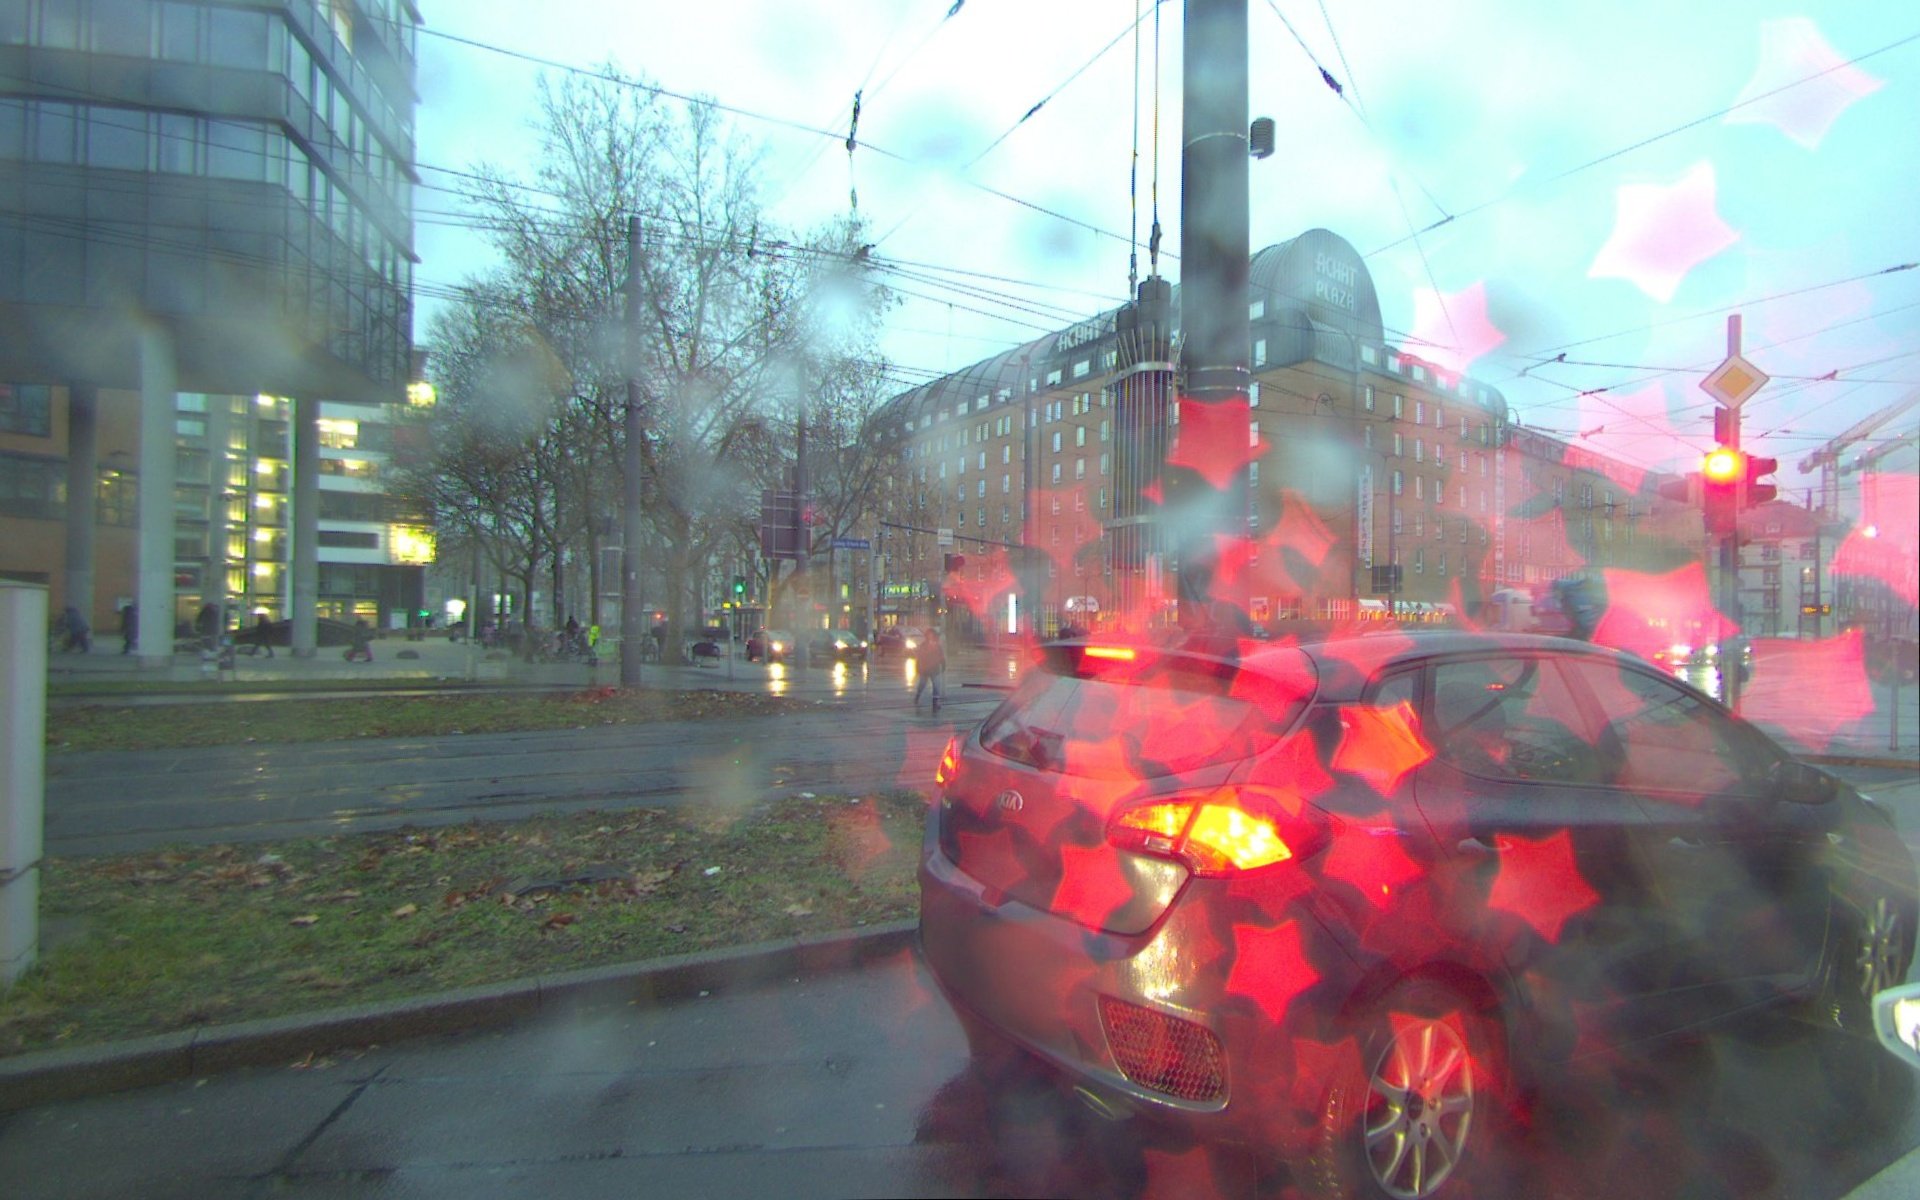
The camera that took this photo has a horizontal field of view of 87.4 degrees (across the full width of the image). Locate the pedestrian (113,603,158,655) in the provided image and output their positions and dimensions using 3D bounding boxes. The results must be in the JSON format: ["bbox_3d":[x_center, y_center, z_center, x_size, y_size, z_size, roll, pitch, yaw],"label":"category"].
[{"bbox_3d":[-27.875,0.994,33.971,0.772,1.734,1.008,1,-2,-15],"label":"pedestrian"}]

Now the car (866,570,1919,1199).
[{"bbox_3d":[1.782,0.754,3.642,3.894,1.544,1.622,2,0,-29],"label":"car"}]

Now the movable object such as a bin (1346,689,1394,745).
[{"bbox_3d":[5.430,1.546,13.320,0.527,0.708,0.413,0,-3,15],"label":"movable object such as a bin"}]

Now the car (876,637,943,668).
[{"bbox_3d":[-2.699,2.712,52.578,1.975,1.483,3.970,1,-2,-28],"label":"car"}]

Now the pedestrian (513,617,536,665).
[{"bbox_3d":[-16.806,1.571,38.769,0.778,1.828,0.868,1,-1,-22],"label":"pedestrian"}]

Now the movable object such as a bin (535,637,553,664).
[{"bbox_3d":[-16.124,1.959,38.967,0.637,1.048,0.572,1,-1,-23],"label":"movable object such as a bin"}]

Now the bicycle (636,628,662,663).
[{"bbox_3d":[-12.255,1.788,39.542,0.624,1.336,2.296,1,-2,-25],"label":"bicycle"}]

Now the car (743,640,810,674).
[{"bbox_3d":[-8.740,2.659,47.549,1.975,1.483,3.970,1,-2,-28],"label":"car"}]

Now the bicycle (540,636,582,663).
[{"bbox_3d":[-16.351,2.026,41.171,1.564,1.088,0.451,1,-2,-20],"label":"bicycle"}]

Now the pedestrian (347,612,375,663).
[{"bbox_3d":[-21.441,1.329,35.966,0.811,1.797,0.568,1,-2,-29],"label":"pedestrian"}]

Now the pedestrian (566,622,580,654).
[{"bbox_3d":[-19.610,1.923,50.861,0.637,1.577,0.765,1,-1,-22],"label":"pedestrian"}]

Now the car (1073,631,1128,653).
[{"bbox_3d":[9.848,2.929,70.468,1.688,1.478,3.717,2,-2,-38],"label":"car"}]

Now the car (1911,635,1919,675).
[{"bbox_3d":[36.849,2.045,35.959,3.941,1.460,1.706,1,-1,41],"label":"car"}]

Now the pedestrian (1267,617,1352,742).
[{"bbox_3d":[4.720,1.067,13.620,1.016,1.621,0.716,-1,-3,15],"label":"pedestrian"}]

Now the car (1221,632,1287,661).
[{"bbox_3d":[16.528,2.610,56.642,1.683,1.467,3.987,1,-1,-16],"label":"car"}]

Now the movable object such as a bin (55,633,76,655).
[{"bbox_3d":[-29.013,1.435,32.575,0.481,0.698,0.353,2,-2,-38],"label":"movable object such as a bin"}]

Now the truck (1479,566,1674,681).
[{"bbox_3d":[21.809,0.852,36.159,2.791,3.681,7.531,1,-1,4],"label":"truck"}]

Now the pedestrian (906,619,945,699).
[{"bbox_3d":[-0.683,1.138,19.529,0.724,1.519,0.676,1,-1,-4],"label":"pedestrian"}]

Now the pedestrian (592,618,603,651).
[{"bbox_3d":[-22.862,2.184,63.294,0.568,2.040,0.583,1,-2,-16],"label":"pedestrian"}]

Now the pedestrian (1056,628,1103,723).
[{"bbox_3d":[1.959,1.228,16.535,0.604,1.532,0.519,1,-1,-18],"label":"pedestrian"}]

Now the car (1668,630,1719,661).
[{"bbox_3d":[46.528,2.869,63.667,3.973,1.885,1.974,2,-2,-44],"label":"car"}]

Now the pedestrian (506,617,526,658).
[{"bbox_3d":[-20.135,1.693,45.555,0.719,1.840,0.773,1,-1,-30],"label":"pedestrian"}]

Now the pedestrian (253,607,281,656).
[{"bbox_3d":[-24.878,1.124,36.071,0.776,1.734,0.650,1,-2,-32],"label":"pedestrian"}]

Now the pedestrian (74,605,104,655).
[{"bbox_3d":[-28.550,0.973,32.936,0.670,1.629,0.449,1,-2,-38],"label":"pedestrian"}]

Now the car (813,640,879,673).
[{"bbox_3d":[-5.805,2.813,50.631,1.975,1.483,3.970,1,-2,-28],"label":"car"}]

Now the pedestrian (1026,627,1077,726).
[{"bbox_3d":[1.450,1.204,16.035,0.635,1.532,0.560,1,-1,-18],"label":"pedestrian"}]
